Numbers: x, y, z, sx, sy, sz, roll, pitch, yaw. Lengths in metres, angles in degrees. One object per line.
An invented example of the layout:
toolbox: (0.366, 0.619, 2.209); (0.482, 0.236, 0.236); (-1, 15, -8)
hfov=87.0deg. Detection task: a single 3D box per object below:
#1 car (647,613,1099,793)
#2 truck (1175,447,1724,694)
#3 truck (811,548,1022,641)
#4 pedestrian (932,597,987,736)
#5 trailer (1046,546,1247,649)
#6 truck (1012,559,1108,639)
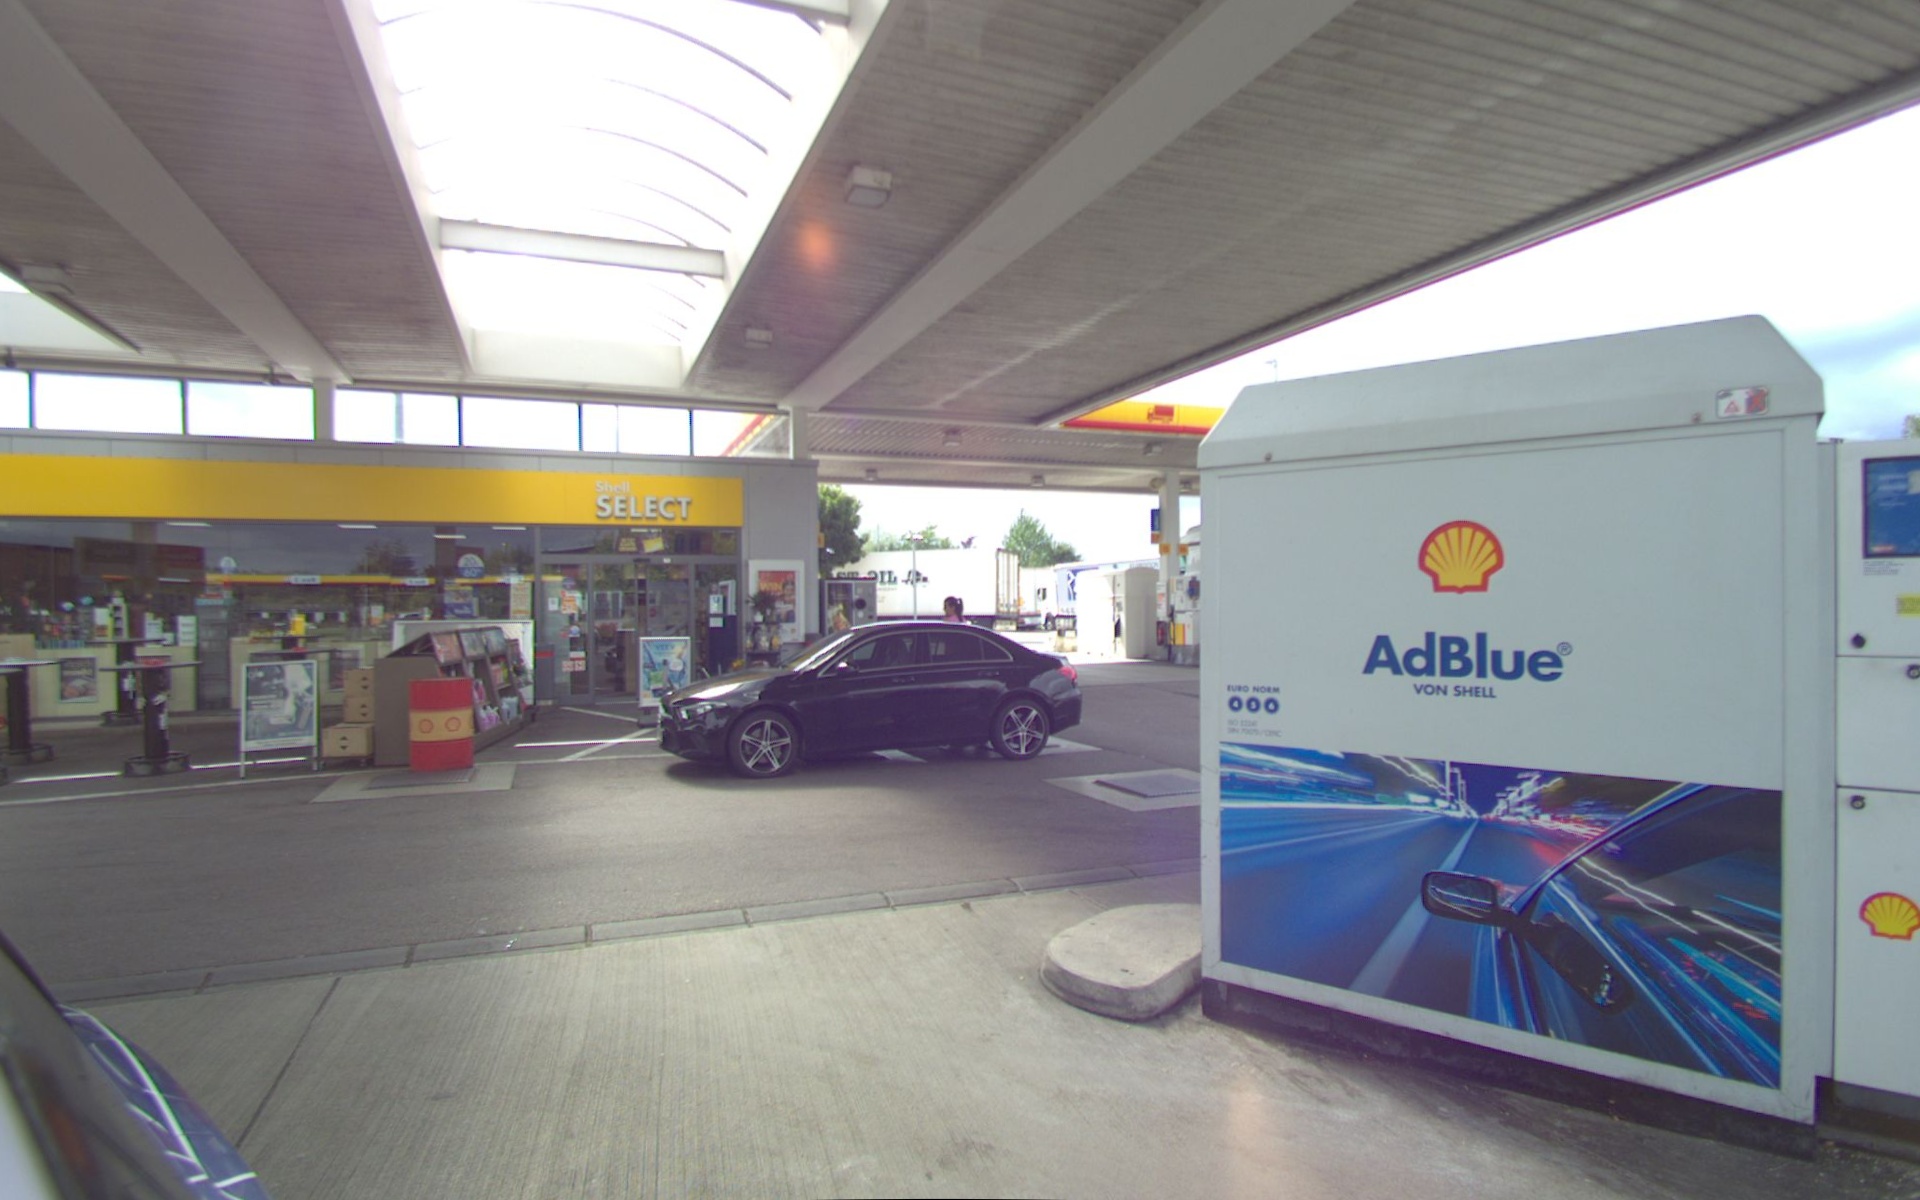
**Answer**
car: (-0.923, 0.939, 10.674); (4.394, 1.511, 1.785); (-1, 0, -21)
truck: (9.660, -0.470, 23.100); (2.491, 4.069, 12.947); (-1, 0, -22)
truck: (-2.100, -0.189, 46.837); (9.536, 4.036, 2.772); (-1, 0, 25)
pedestrian: (-0.013, 0.833, 13.037); (0.613, 1.726, 0.628); (-1, 0, -7)
trailer: (9.107, -0.110, 52.672); (3.294, 4.600, 14.397); (-1, 0, -20)
truck: (5.930, -0.061, 61.219); (3.333, 4.538, 6.249); (-1, 0, -20)
